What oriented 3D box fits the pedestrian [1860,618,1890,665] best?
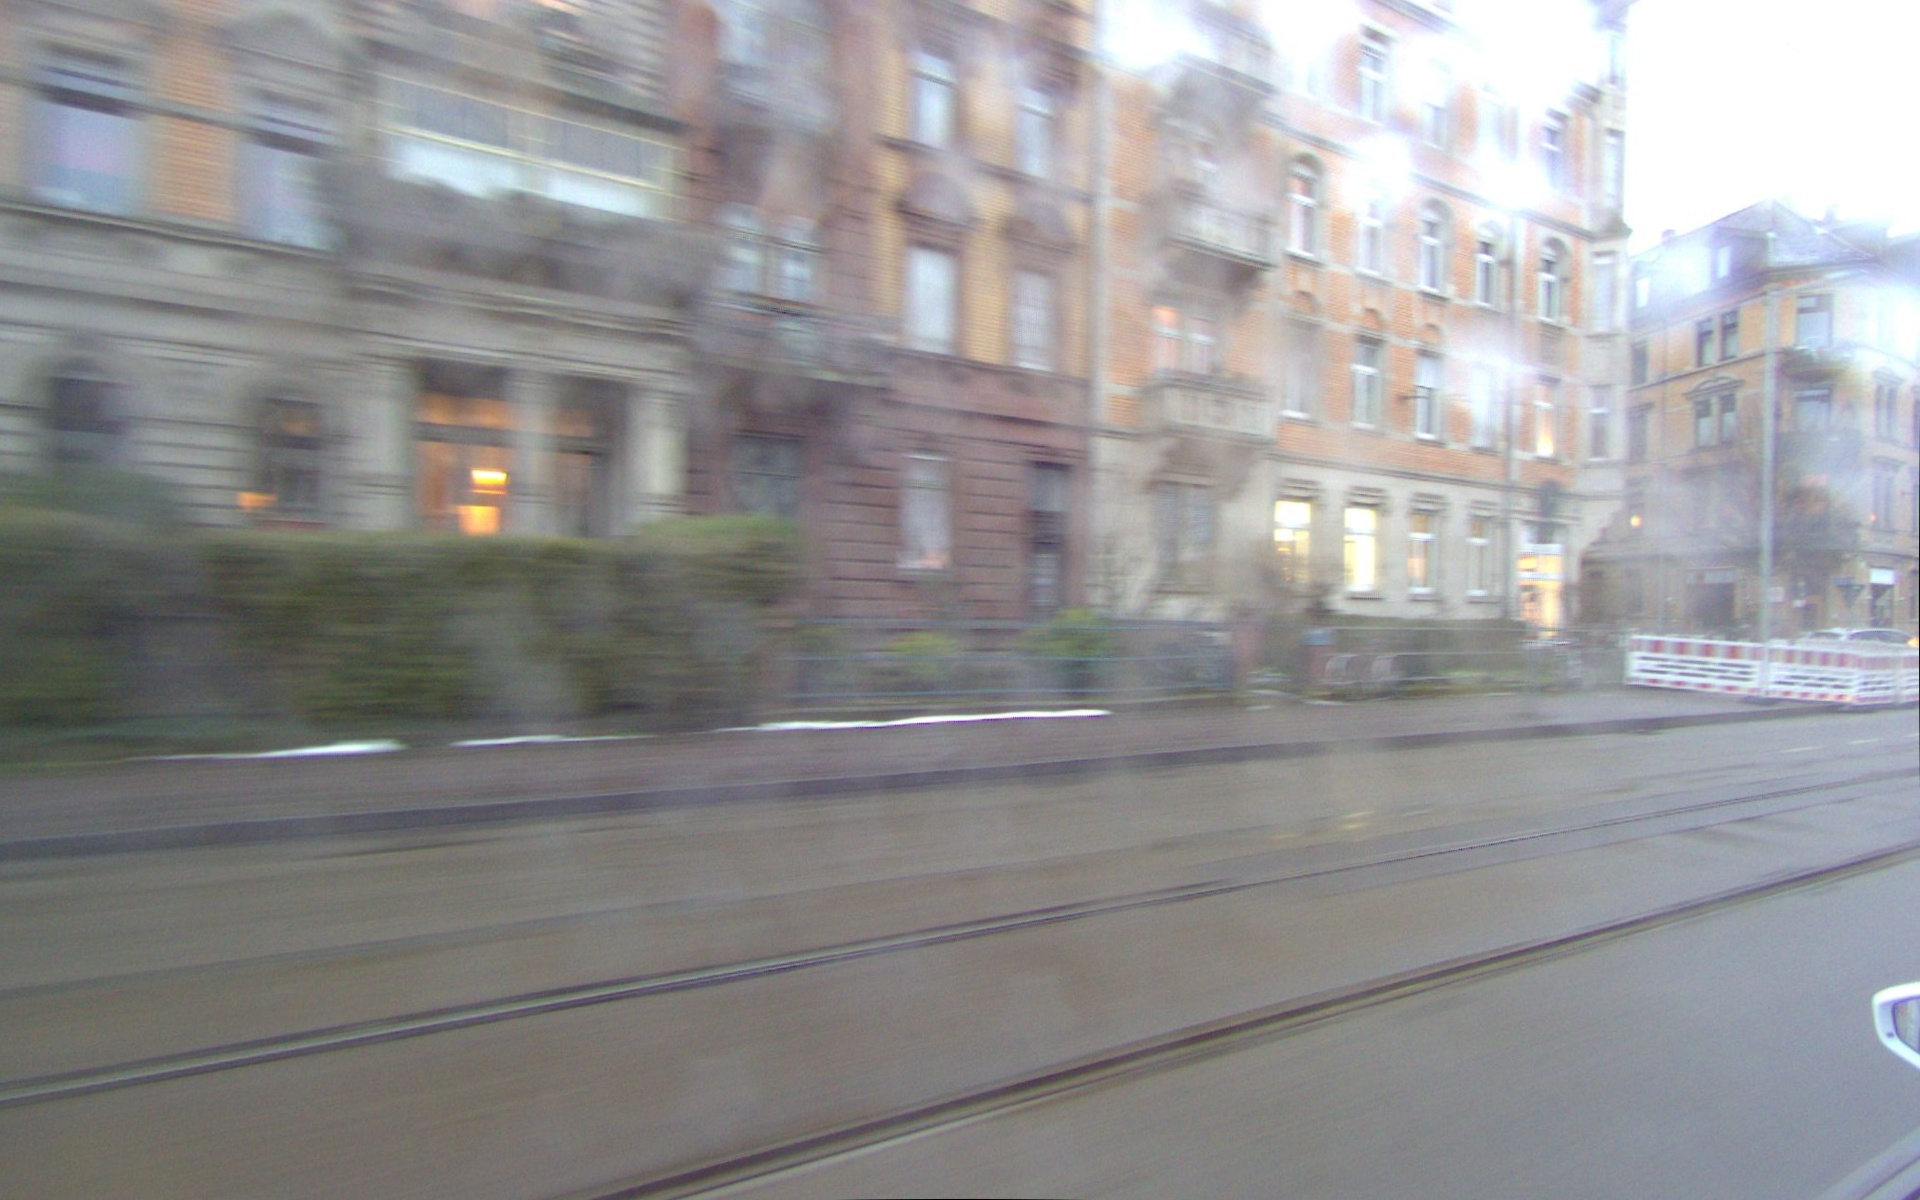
[{"bbox_3d":[35.475,1.592,38.965,0.708,1.797,0.769,0,-1,30],"label":"pedestrian"}]

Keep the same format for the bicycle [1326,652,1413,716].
[{"bbox_3d":[6.501,1.318,15.911,1.666,0.928,0.262,1,5,-31],"label":"bicycle"}]
